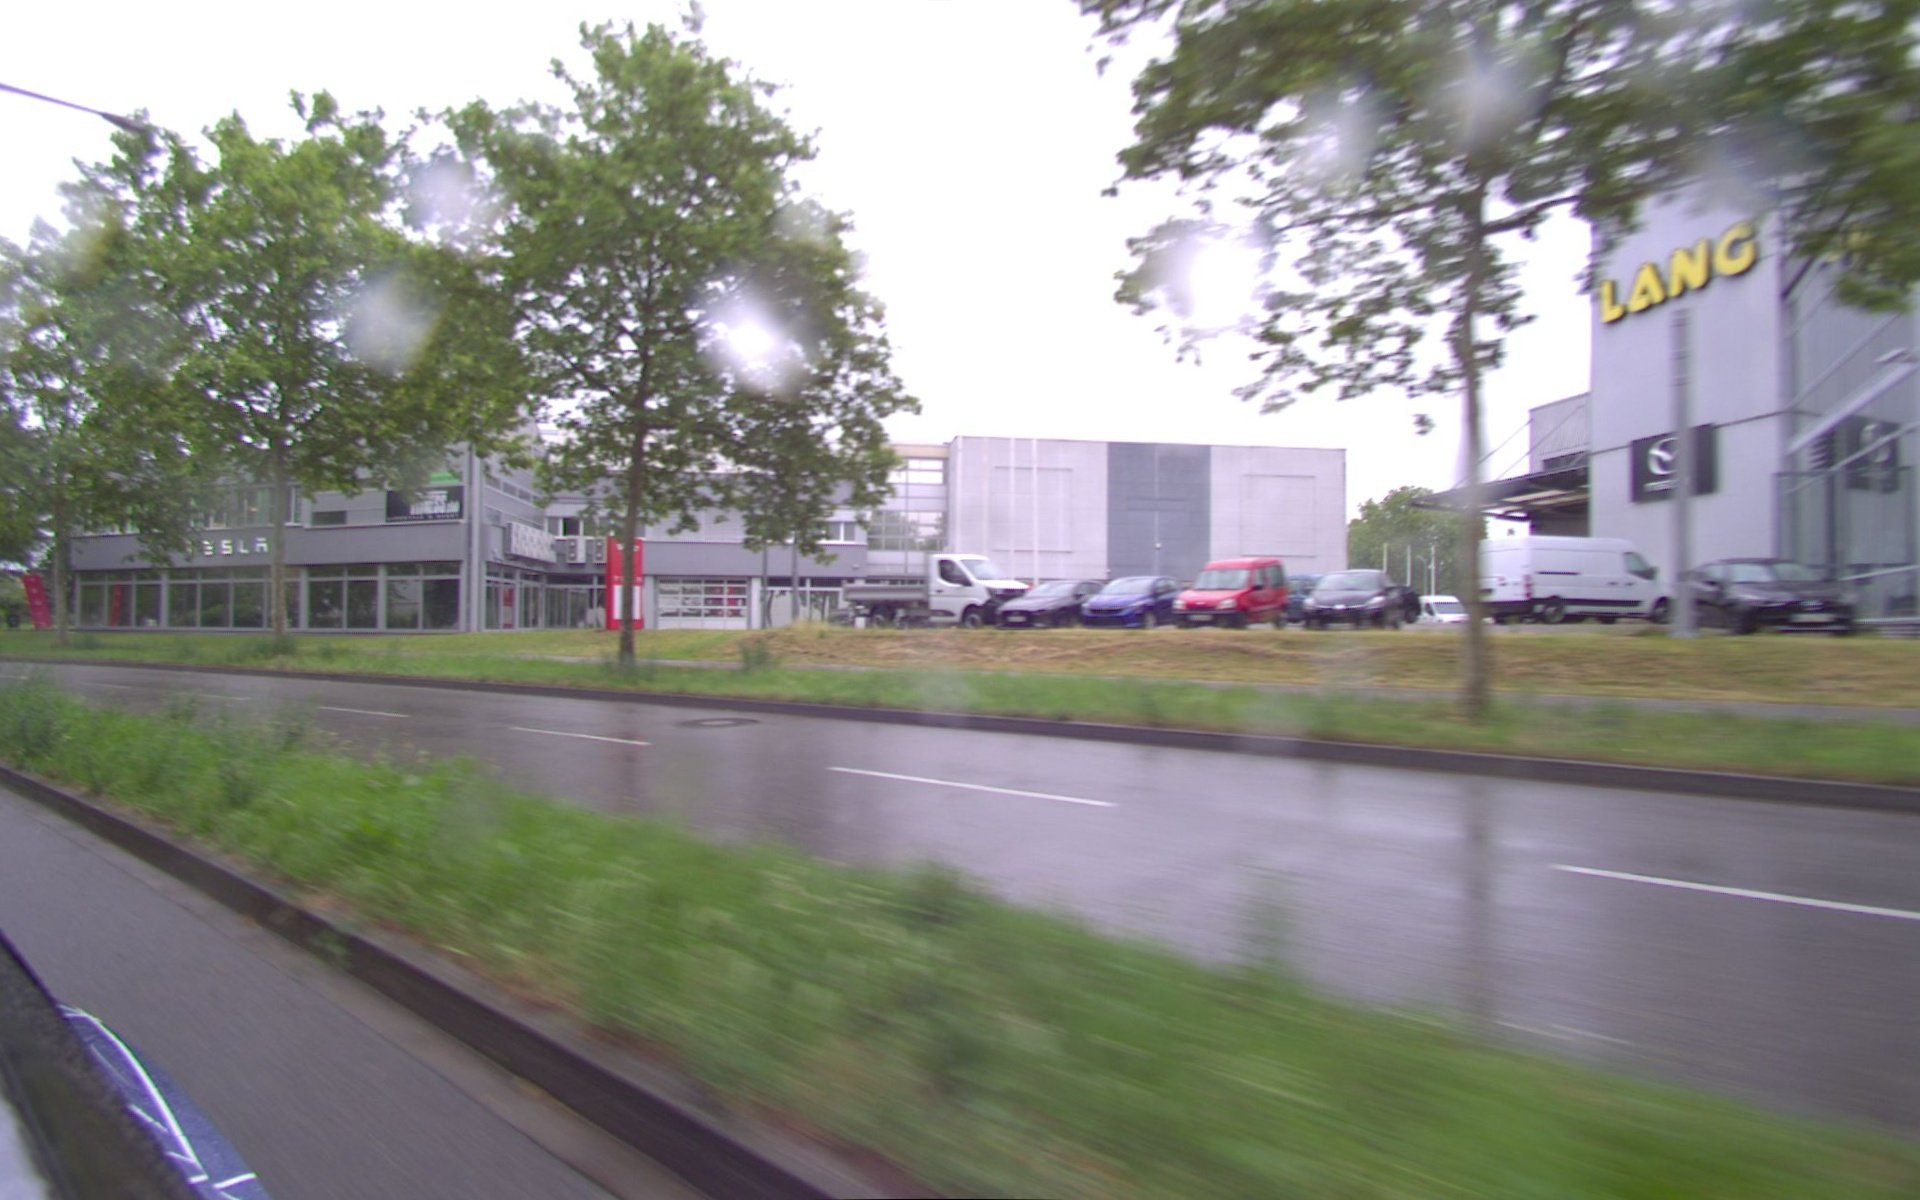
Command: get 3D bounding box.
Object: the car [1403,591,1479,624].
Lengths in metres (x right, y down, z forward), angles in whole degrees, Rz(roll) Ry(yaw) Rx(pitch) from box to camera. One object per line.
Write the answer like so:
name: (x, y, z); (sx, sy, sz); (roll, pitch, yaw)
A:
car: (27.945, 0.466, 58.984); (1.957, 1.741, 4.713); (-2, -1, -2)

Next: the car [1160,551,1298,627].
car: (6.440, -0.294, 23.951); (1.844, 1.568, 3.961); (-3, 1, 36)

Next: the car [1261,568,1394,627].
car: (12.218, -0.078, 33.994); (1.790, 1.777, 4.667); (-2, 0, -15)

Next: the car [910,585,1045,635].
car: (0.553, 0.336, 33.579); (4.140, 1.478, 1.750); (-3, -1, 30)

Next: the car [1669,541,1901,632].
car: (14.597, -0.254, 18.216); (1.832, 1.367, 3.986); (-3, 1, 18)

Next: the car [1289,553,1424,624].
car: (8.921, -0.286, 22.584); (1.844, 1.367, 3.961); (-3, 1, 36)

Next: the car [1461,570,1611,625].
car: (20.104, -0.078, 35.590); (1.790, 1.777, 4.667); (-2, 0, -15)

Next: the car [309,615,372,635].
car: (-61.659, 2.476, 100.776); (5.150, 1.878, 1.796); (0, -1, -6)

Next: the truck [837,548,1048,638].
truck: (-0.625, -0.167, 30.267); (6.183, 2.362, 2.226); (-3, 1, 37)

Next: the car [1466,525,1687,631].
car: (17.494, -0.634, 28.802); (5.250, 2.773, 2.176); (-2, 0, -12)

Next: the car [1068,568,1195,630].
car: (4.352, -0.048, 25.348); (1.765, 1.336, 3.492); (-3, 1, 36)

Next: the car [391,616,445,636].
car: (-50.406, 2.392, 94.145); (4.139, 1.827, 1.821); (1, -1, -41)

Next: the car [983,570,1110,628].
car: (2.345, -0.050, 26.823); (1.765, 1.336, 3.492); (-3, 1, 36)

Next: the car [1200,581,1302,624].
car: (12.996, 0.149, 45.412); (1.739, 1.741, 4.166); (-2, -1, -36)
